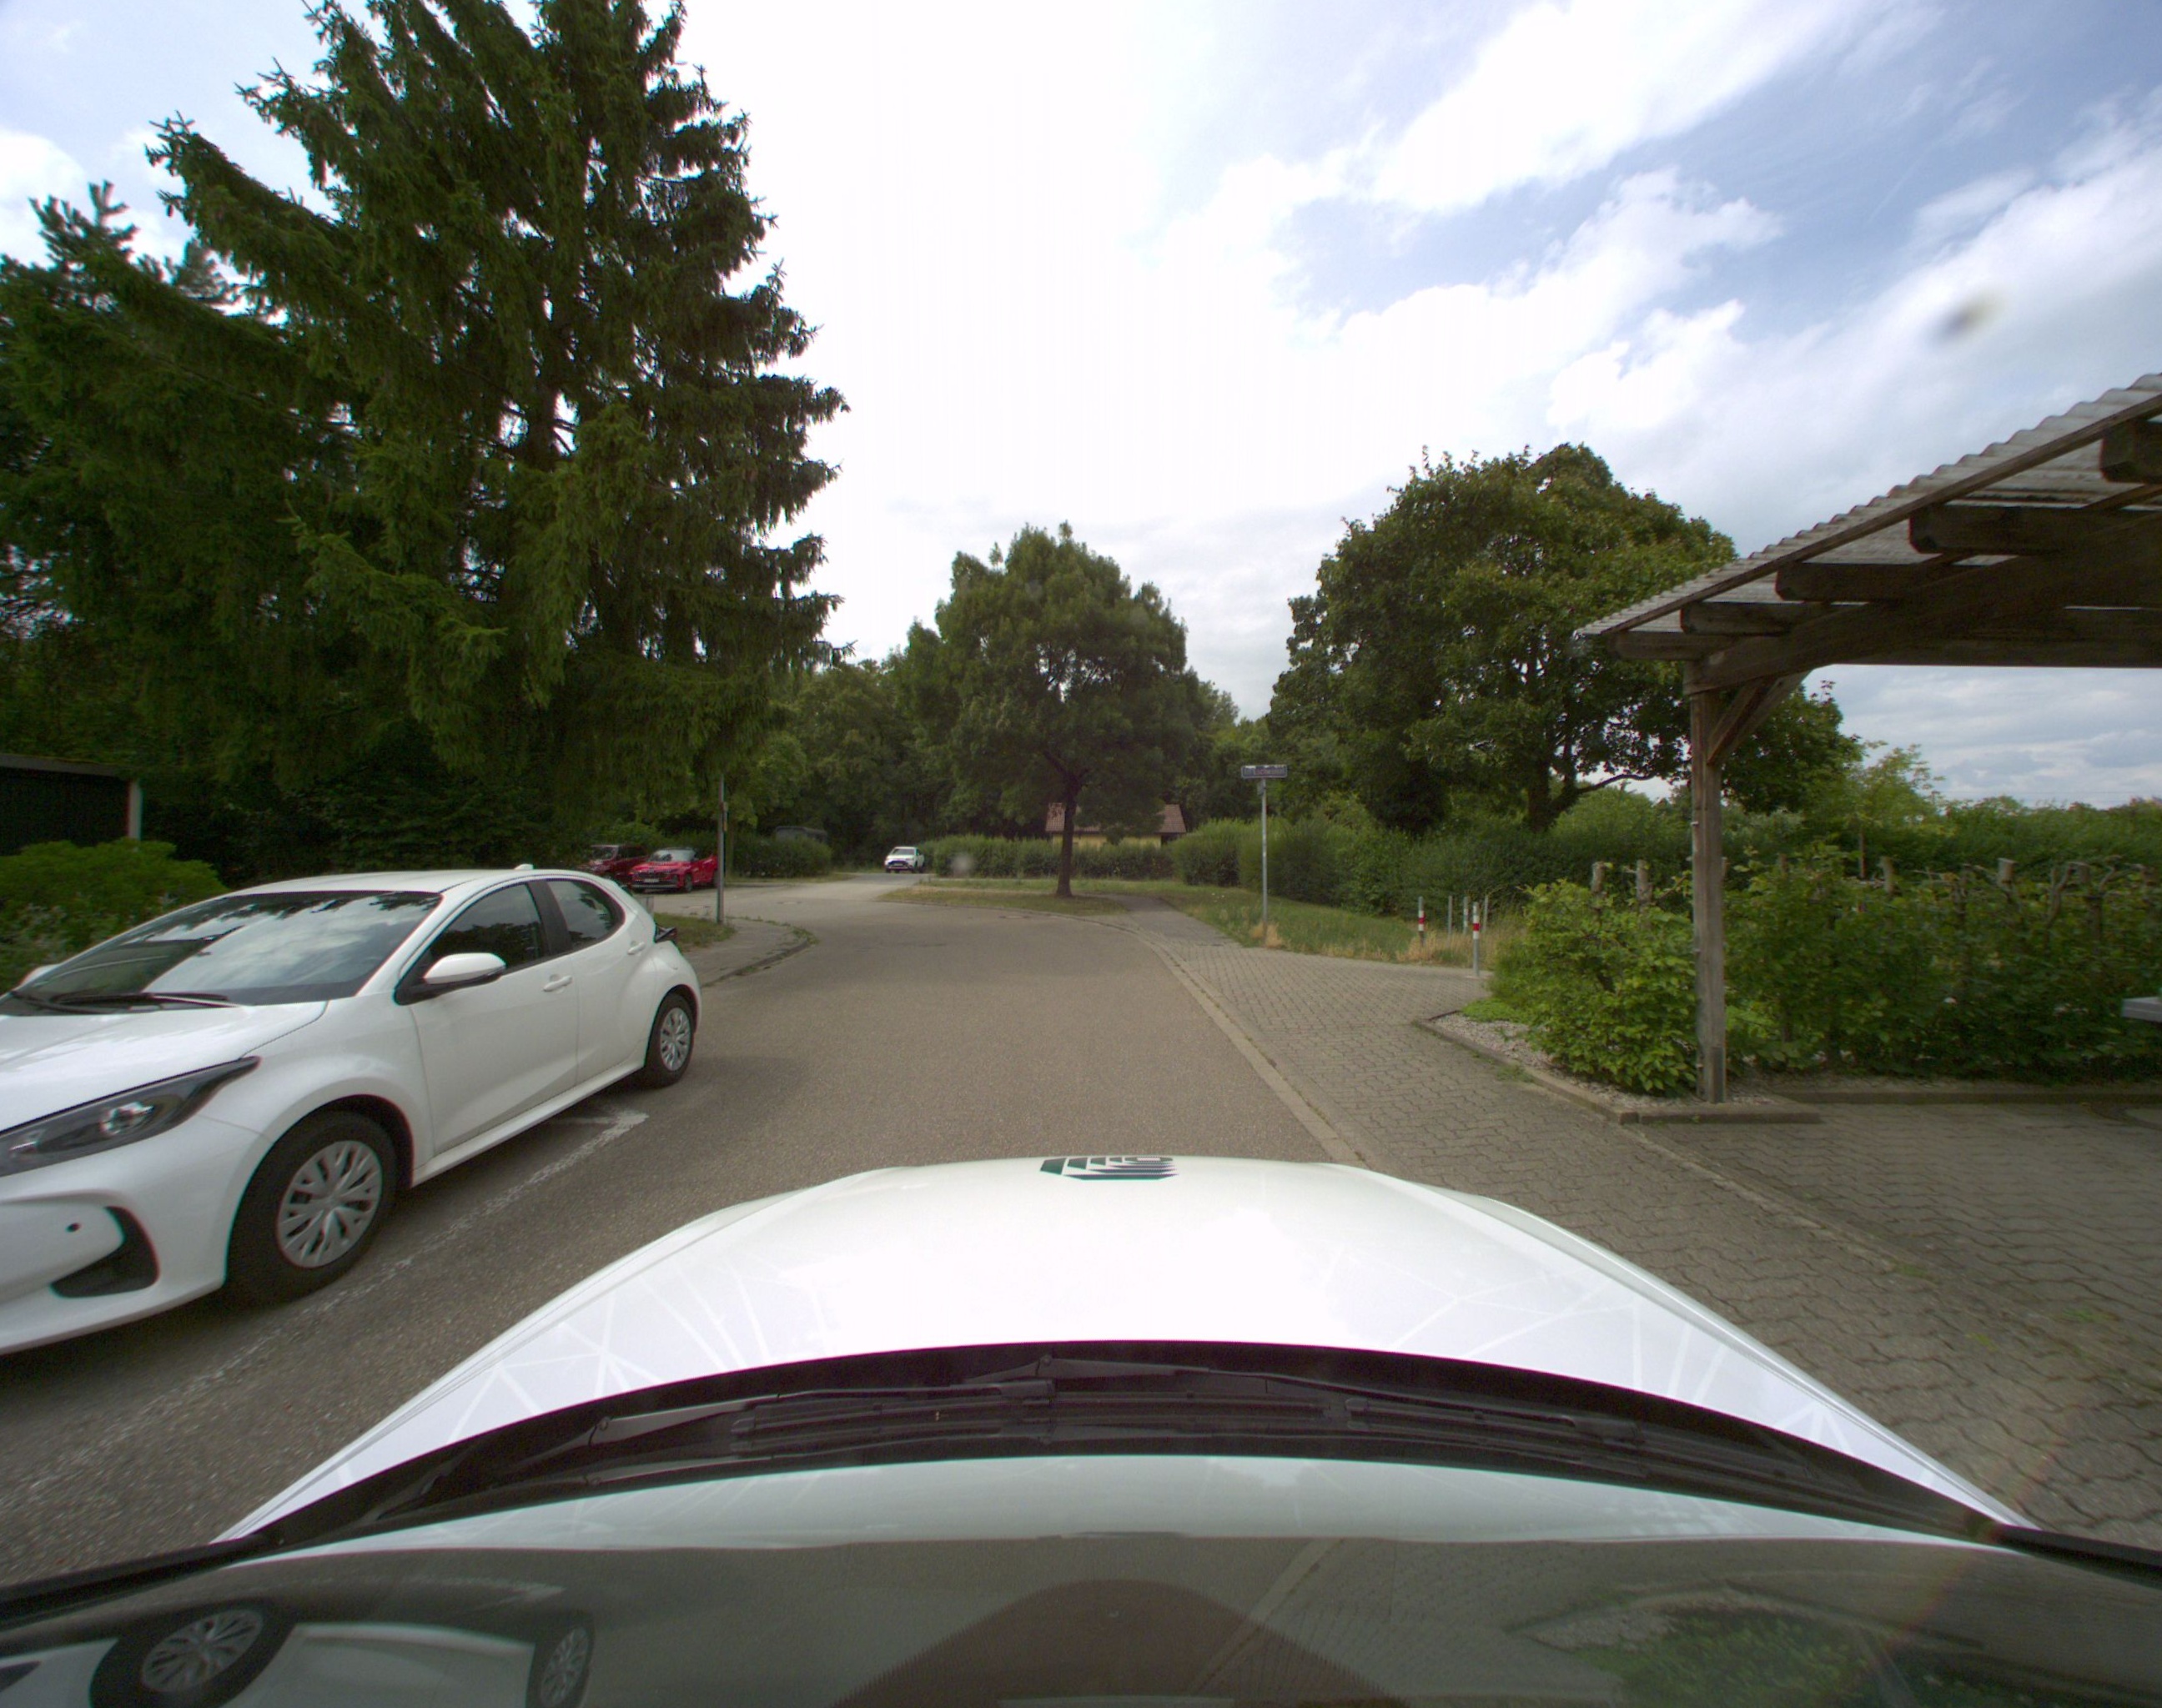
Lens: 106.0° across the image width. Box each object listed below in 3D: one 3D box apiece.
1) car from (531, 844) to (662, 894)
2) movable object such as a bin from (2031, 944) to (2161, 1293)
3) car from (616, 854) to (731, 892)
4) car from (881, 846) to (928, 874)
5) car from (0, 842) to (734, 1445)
[{"bbox_3d":[-17.703,0.527,30.056,2.085,1.686,4.690,1,0,-2],"label":"car"},{"bbox_3d":[3.806,0.866,2.607,0.697,1.072,0.710,-1,0,-4],"label":"movable object such as a bin"},{"bbox_3d":[-14.940,0.664,30.213,1.988,1.290,4.690,1,0,-2],"label":"car"},{"bbox_3d":[-10.733,0.362,49.789,1.931,1.660,4.340,0,0,0],"label":"car"},{"bbox_3d":[-3.541,0.741,4.128,1.786,1.531,4.139,0,0,0],"label":"car"}]
